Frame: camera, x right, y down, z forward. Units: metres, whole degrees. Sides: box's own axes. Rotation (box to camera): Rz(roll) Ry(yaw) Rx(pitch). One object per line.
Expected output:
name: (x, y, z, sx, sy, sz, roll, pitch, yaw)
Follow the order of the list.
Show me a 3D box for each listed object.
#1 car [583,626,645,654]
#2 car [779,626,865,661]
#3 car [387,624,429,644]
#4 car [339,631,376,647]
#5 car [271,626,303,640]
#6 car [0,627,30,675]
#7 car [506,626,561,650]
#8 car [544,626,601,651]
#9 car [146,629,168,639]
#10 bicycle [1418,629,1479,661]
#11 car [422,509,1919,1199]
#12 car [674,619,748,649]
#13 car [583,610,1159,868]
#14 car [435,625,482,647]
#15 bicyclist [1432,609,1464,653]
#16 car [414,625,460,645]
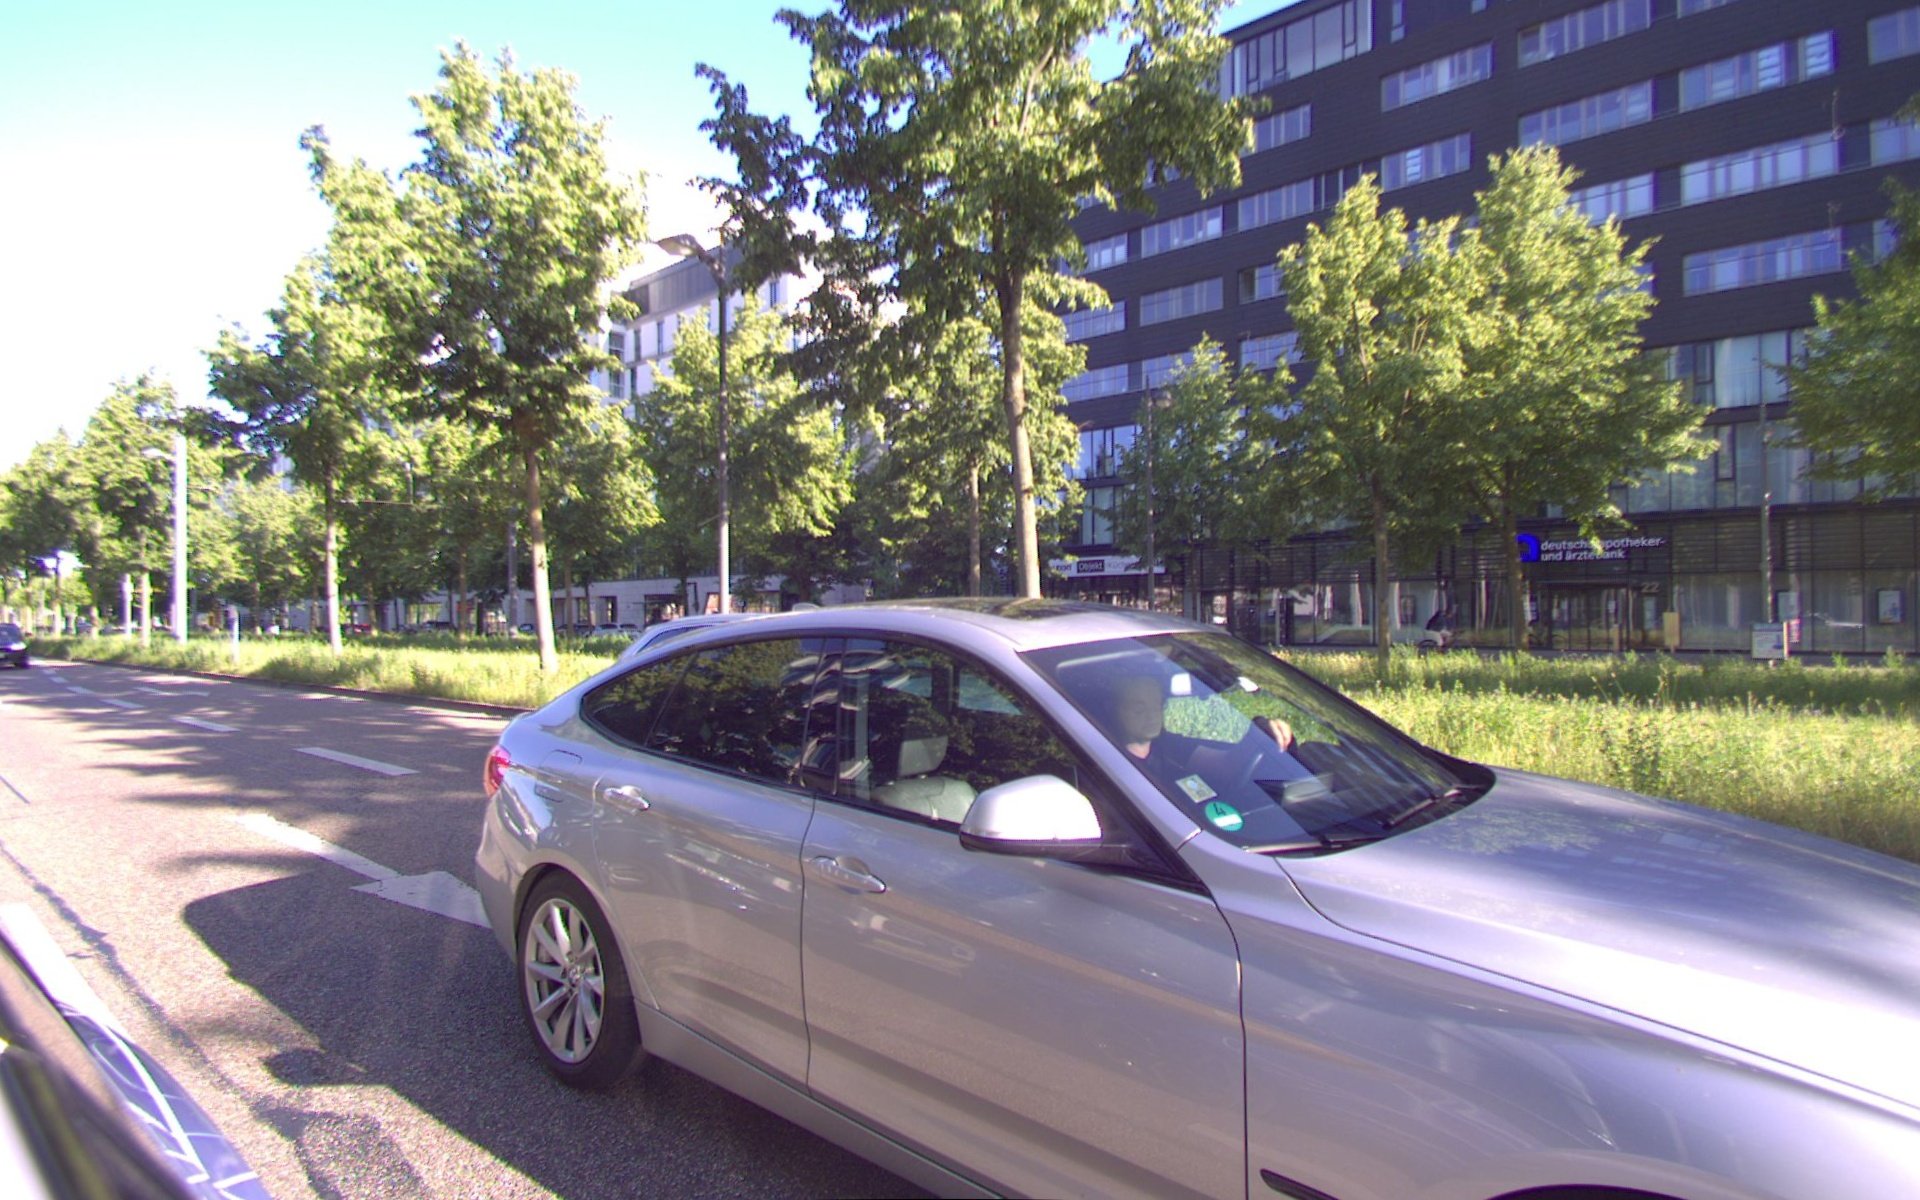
car: (-21.631, 2.482, 63.200, 4.182, 1.609, 1.859, -2, -1, 41)
car: (-6.760, 2.089, 49.390, 4.182, 1.609, 1.926, -2, -1, 41)
car: (-46.580, 2.874, 85.379, 4.182, 1.609, 1.859, -2, -1, 41)
car: (-55.233, 3.561, 92.758, 4.001, 1.406, 1.971, -2, -2, 44)
car: (-72.525, 3.528, 109.066, 3.998, 1.406, 1.972, -2, -2, 41)
car: (-31.838, 1.657, 32.976, 3.998, 1.502, 1.837, -1, -1, 41)
car: (-29.722, 2.608, 70.470, 4.182, 1.609, 1.859, -2, -1, 41)
car: (-25.693, 2.542, 67.057, 4.182, 1.609, 1.859, -2, -1, 41)
car: (-114.618, 4.852, 144.499, 4.001, 1.406, 1.971, -2, -2, 44)
bicycle: (16.196, 1.483, 33.571, 1.755, 1.043, 0.472, -1, -2, 41)
car: (0.451, 0.687, 2.706, 4.558, 1.495, 1.800, -1, -1, 40)
car: (-13.762, 1.867, 55.753, 4.182, 1.609, 1.926, -2, -1, 41)
car: (-0.921, 0.835, 7.892, 4.564, 1.458, 1.781, -1, -1, 40)
car: (-38.663, 2.757, 77.976, 4.182, 1.609, 1.859, -2, -1, 41)
bicyclist: (16.189, 1.025, 33.580, 0.820, 1.435, 0.472, -2, -2, 41)
car: (-42.125, 2.803, 81.483, 4.182, 1.609, 1.859, -2, -1, 41)
